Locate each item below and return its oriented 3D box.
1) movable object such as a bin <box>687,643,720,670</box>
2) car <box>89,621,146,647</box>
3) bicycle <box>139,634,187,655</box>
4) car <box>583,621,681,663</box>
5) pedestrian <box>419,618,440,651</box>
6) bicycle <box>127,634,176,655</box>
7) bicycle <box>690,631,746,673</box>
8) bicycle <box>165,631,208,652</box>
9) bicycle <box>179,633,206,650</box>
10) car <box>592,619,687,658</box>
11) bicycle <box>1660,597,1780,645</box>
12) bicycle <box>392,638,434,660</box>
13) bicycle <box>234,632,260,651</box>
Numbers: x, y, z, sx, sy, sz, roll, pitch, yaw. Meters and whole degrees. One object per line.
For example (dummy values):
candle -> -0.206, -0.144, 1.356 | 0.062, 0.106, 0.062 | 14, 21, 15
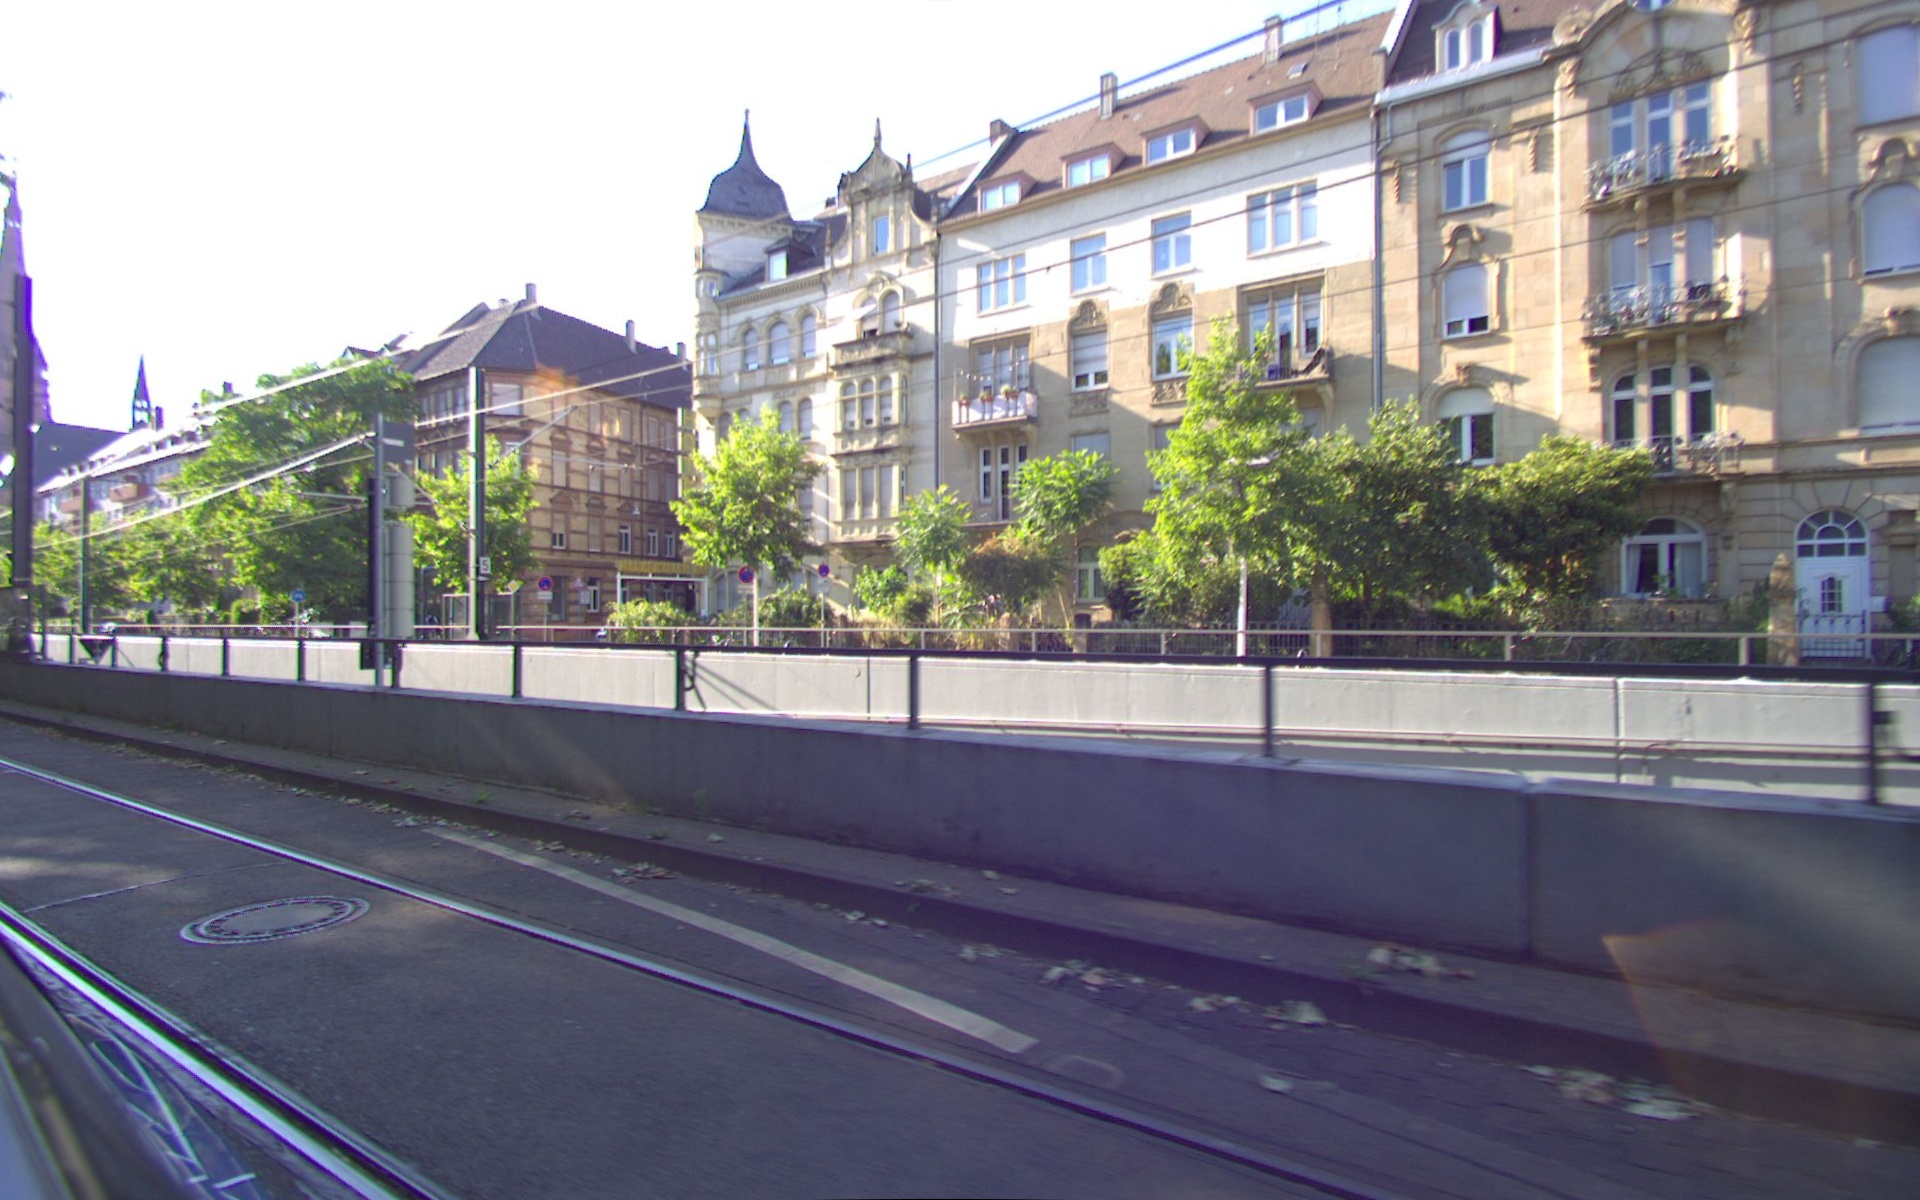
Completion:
movable object such as a bin -> -9.658, 2.126, 38.143 | 0.781, 0.926, 0.890 | -1, 1, 30
car -> -55.797, 2.262, 67.001 | 3.989, 1.597, 1.818 | -1, 1, 34
bicycle -> -48.994, 2.702, 62.236 | 0.634, 1.107, 2.784 | -2, 1, 3
car -> -14.314, 1.797, 44.348 | 1.816, 1.636, 3.964 | -1, 0, 26
pedestrian -> -28.710, 1.868, 54.780 | 0.864, 1.701, 0.711 | -1, 1, 41
bicycle -> -49.679, 2.723, 62.239 | 0.634, 1.107, 2.784 | -2, 1, 3
bicycle -> -7.696, 1.650, 32.243 | 0.599, 1.289, 1.712 | -1, -2, 41
bicycle -> -45.827, 2.436, 59.970 | 0.550, 1.107, 2.372 | -2, 1, 5
bicycle -> -45.273, 2.459, 59.689 | 0.532, 0.912, 1.267 | -2, 1, 5
car -> -16.455, 1.970, 52.011 | 4.453, 1.863, 1.984 | -1, 1, 24
bicycle -> 16.983, 0.471, 22.644 | 2.110, 1.026, 0.500 | -1, 1, 40
bicycle -> -27.355, 2.427, 50.616 | 1.920, 1.012, 0.455 | 2, 1, 5
bicycle -> -43.877, 2.533, 62.290 | 2.371, 1.107, 0.550 | -1, 1, 36
